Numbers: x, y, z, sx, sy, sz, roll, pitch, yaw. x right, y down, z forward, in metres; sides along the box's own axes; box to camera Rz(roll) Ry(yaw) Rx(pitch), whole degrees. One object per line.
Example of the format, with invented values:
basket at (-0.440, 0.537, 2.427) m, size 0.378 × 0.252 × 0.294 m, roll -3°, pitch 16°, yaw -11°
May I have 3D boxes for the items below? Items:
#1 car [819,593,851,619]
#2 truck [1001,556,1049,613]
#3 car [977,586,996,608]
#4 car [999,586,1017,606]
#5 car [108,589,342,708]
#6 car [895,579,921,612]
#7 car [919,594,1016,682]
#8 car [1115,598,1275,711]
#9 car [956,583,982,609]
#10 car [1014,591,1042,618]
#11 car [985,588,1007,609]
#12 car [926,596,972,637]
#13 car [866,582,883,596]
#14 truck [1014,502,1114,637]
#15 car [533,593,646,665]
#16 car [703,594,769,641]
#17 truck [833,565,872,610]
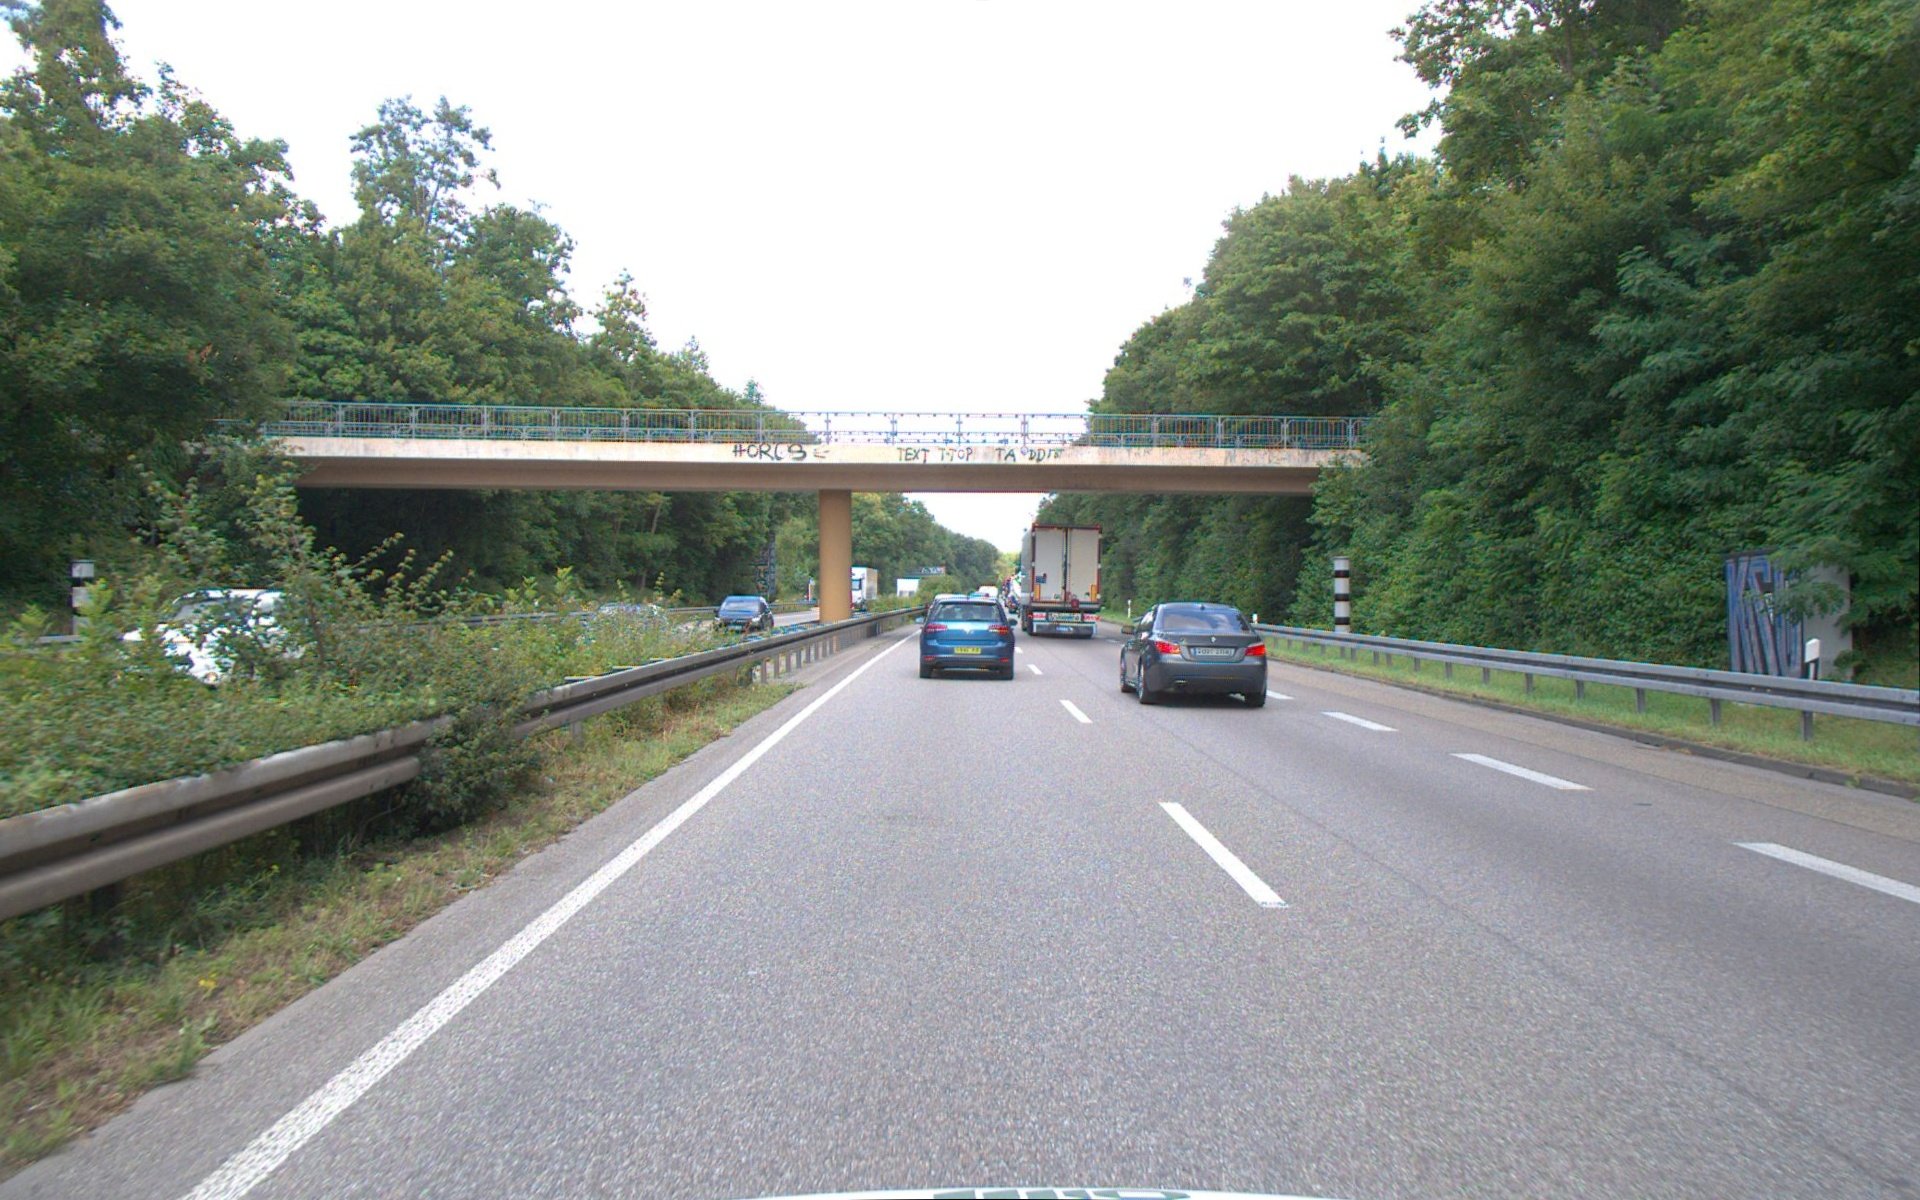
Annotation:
car at (-7.577, 0.350, 100.784) m, size 1.651 × 1.502 × 4.436 m, roll 0°, pitch 0°, yaw -1°
truck at (5.322, -1.155, 138.248) m, size 3.166 × 4.463 × 12.966 m, roll 1°, pitch -1°, yaw -1°
car at (2.853, -0.345, 177.511) m, size 1.953 × 2.294 × 4.441 m, roll 0°, pitch 0°, yaw -1°
car at (5.880, -0.529, 203.215) m, size 1.953 × 2.368 × 4.441 m, roll 0°, pitch 0°, yaw -1°
car at (-11.883, 0.717, 27.136) m, size 1.749 × 1.769 × 4.879 m, roll 0°, pitch 0°, yaw -1°
car at (-5.208, -0.450, 165.790) m, size 2.241 × 3.289 × 7.287 m, roll 0°, pitch 0°, yaw 0°
car at (0.155, 0.658, 30.964) m, size 1.670 × 1.495 × 4.000 m, roll 1°, pitch 0°, yaw 1°
car at (3.440, 0.737, 25.028) m, size 1.738 × 1.501 × 4.880 m, roll 1°, pitch 0°, yaw 1°
car at (0.708, -0.303, 131.683) m, size 1.913 × 2.049 × 4.001 m, roll 0°, pitch 0°, yaw 3°
car at (4.567, 0.269, 111.221) m, size 1.849 × 1.759 × 4.001 m, roll 0°, pitch 0°, yaw 2°
car at (3.386, -0.140, 155.393) m, size 1.913 × 1.887 × 4.001 m, roll 0°, pitch 0°, yaw 3°
car at (-0.410, 0.627, 65.228) m, size 1.631 × 1.526 × 4.153 m, roll 1°, pitch 0°, yaw 2°
car at (-10.856, -1.338, 209.564) m, size 1.790 × 1.690 × 4.595 m, roll 1°, pitch 0°, yaw 1°
truck at (3.877, -1.108, 64.236) m, size 3.175 × 4.798 × 11.006 m, roll 0°, pitch 0°, yaw 0°
car at (-8.811, 0.644, 39.631) m, size 1.784 × 1.615 × 4.138 m, roll 0°, pitch 0°, yaw -1°
car at (-8.158, 0.613, 60.544) m, size 1.827 × 1.617 × 4.565 m, roll 0°, pitch 0°, yaw -1°
truck at (-9.882, -1.149, 152.372) m, size 2.977 × 4.056 × 6.750 m, roll 0°, pitch 0°, yaw 2°
